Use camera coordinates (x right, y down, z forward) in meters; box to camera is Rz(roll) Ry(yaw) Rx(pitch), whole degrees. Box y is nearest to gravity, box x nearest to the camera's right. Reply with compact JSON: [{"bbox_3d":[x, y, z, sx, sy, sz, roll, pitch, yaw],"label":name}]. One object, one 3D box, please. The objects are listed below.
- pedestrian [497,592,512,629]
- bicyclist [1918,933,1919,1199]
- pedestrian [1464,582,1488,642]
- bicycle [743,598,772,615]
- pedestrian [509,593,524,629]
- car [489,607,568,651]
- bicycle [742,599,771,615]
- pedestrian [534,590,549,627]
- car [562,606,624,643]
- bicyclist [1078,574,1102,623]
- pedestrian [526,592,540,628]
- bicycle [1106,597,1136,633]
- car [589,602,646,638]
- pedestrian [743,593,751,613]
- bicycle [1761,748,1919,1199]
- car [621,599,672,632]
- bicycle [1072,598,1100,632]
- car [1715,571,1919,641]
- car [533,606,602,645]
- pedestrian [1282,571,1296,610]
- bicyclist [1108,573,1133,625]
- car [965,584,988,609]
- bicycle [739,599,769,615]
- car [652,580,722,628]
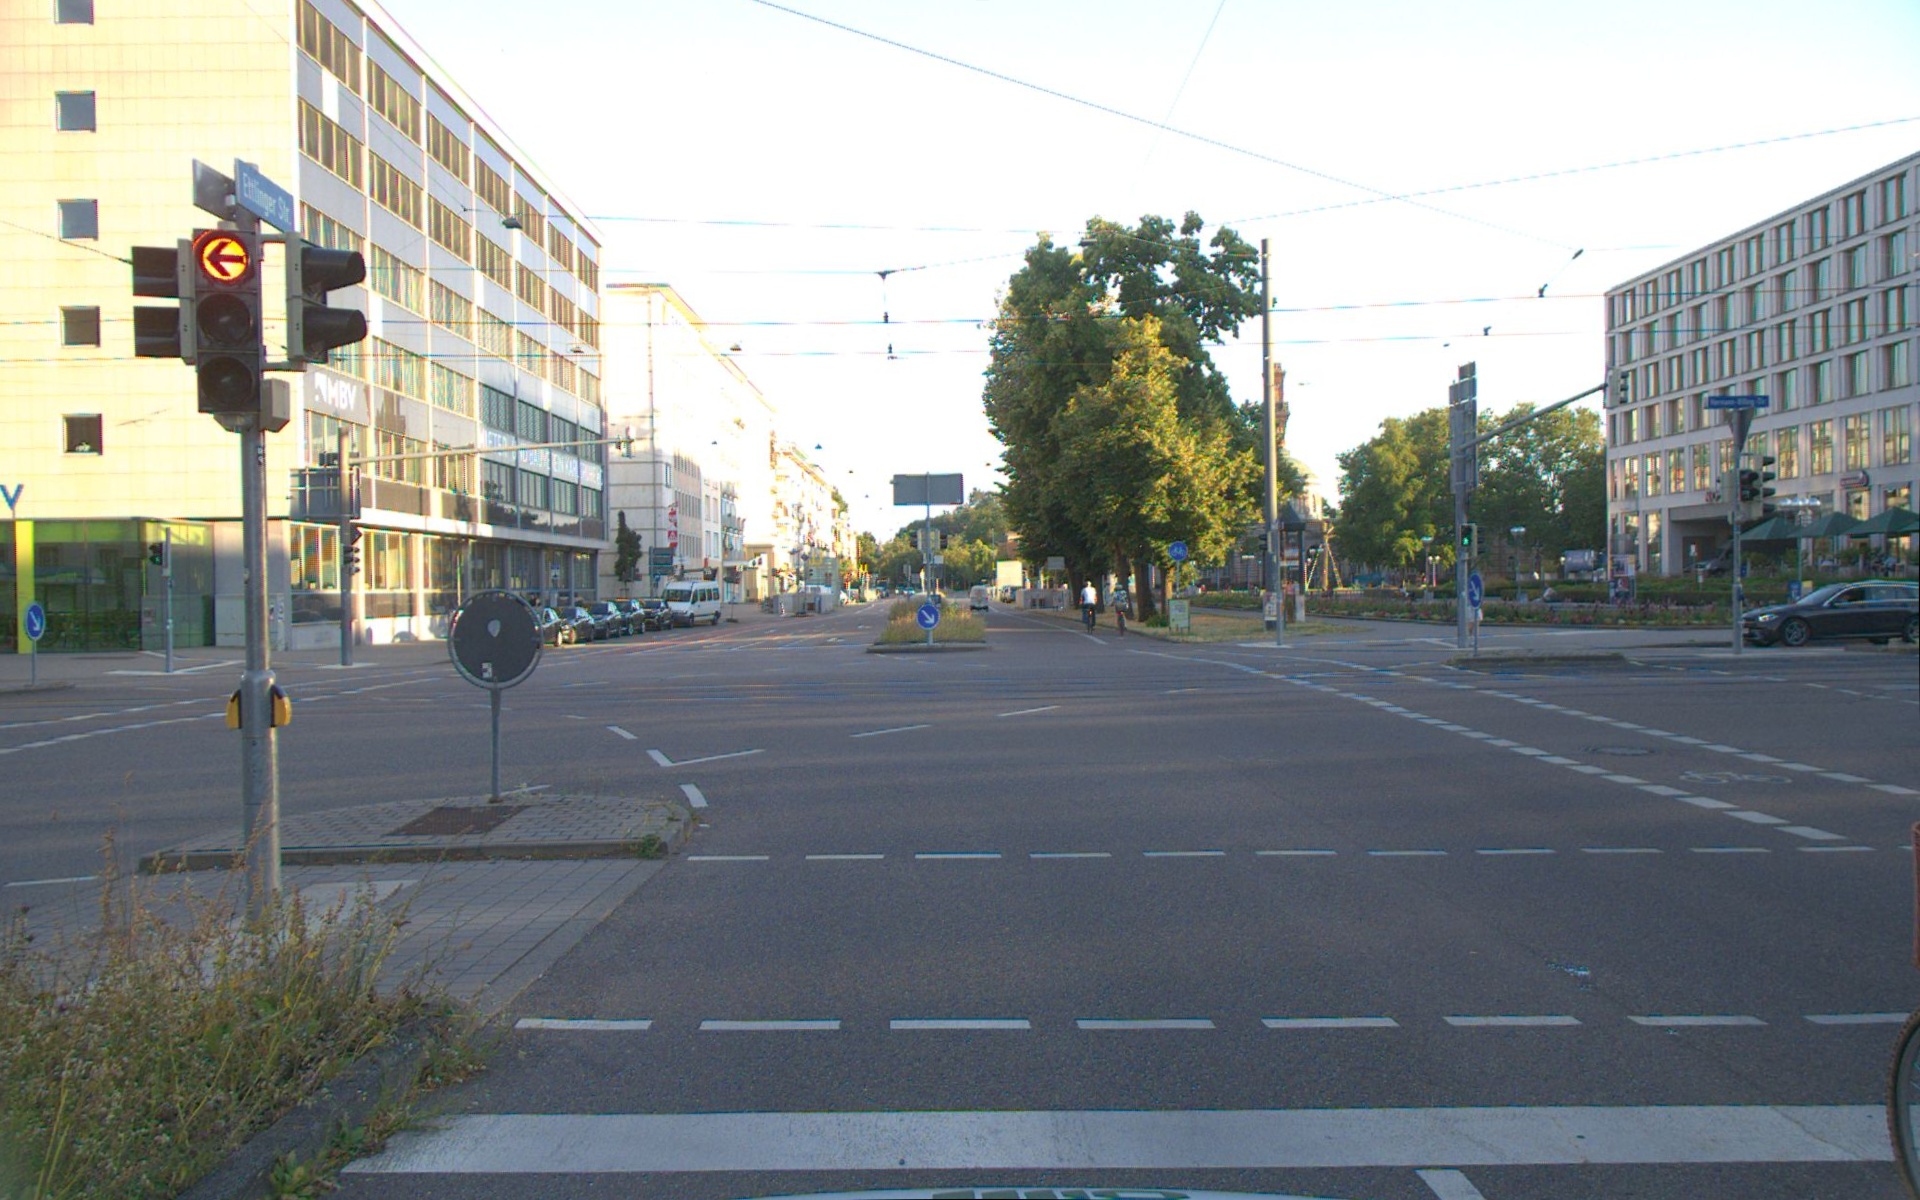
[{"bbox_3d":[-21.413,0.508,77.693,0.540,1.708,0.500,-1,0,-1],"label":"pedestrian"},{"bbox_3d":[2.187,0.533,2.757,0.587,1.665,0.998,1,0,-1],"label":"bicyclist"},{"bbox_3d":[13.734,0.317,44.020,0.480,1.566,0.408,-1,0,-1],"label":"pedestrian"},{"bbox_3d":[-15.720,0.490,128.630,2.161,1.258,0.839,-1,0,-2],"label":"bicycle"},{"bbox_3d":[-20.834,0.519,77.743,0.540,1.708,0.500,-1,0,-1],"label":"pedestrian"},{"bbox_3d":[-16.028,1.064,61.638,1.882,1.489,4.102,-1,0,-1],"label":"car"},{"bbox_3d":[-15.615,0.541,126.855,2.161,1.131,0.689,-1,0,-3],"label":"bicycle"},{"bbox_3d":[-19.613,0.406,77.589,0.540,1.708,0.500,-1,0,-1],"label":"pedestrian"},{"bbox_3d":[-16.160,1.048,72.982,1.882,1.489,3.999,-1,0,-1],"label":"car"},{"bbox_3d":[4.595,-0.045,58.369,0.731,1.692,0.873,-1,0,-1],"label":"bicyclist"},{"bbox_3d":[-20.198,0.480,78.205,0.490,1.708,0.500,-1,0,-1],"label":"pedestrian"},{"bbox_3d":[5.457,0.509,56.176,0.731,1.164,2.505,-1,0,-1],"label":"bicycle"},{"bbox_3d":[-16.157,0.919,78.285,1.882,1.595,3.999,-1,0,-1],"label":"car"},{"bbox_3d":[-21.238,0.300,164.654,0.666,2.049,0.545,-2,0,-1],"label":"pedestrian"},{"bbox_3d":[2.179,0.927,2.852,0.599,1.152,2.004,1,0,-1],"label":"bicycle"},{"bbox_3d":[-15.984,0.773,84.517,1.882,1.595,3.999,-1,0,-1],"label":"car"},{"bbox_3d":[4.470,0.516,58.647,0.731,1.164,2.505,-1,0,-1],"label":"bicycle"},{"bbox_3d":[21.075,0.130,39.993,4.724,1.542,2.000,-1,0,1],"label":"car"},{"bbox_3d":[-16.138,1.026,68.167,1.882,1.489,3.999,-1,0,-1],"label":"car"},{"bbox_3d":[14.362,-0.396,72.163,0.451,1.685,0.566,-1,0,-1],"label":"pedestrian"},{"bbox_3d":[5.442,-0.038,56.182,0.731,1.720,0.799,-1,0,-1],"label":"bicyclist"},{"bbox_3d":[1.122,-0.262,115.754,1.379,1.670,3.998,-1,0,-2],"label":"car"},{"bbox_3d":[-15.570,0.519,125.182,2.161,1.131,0.618,-1,0,-3],"label":"bicycle"},{"bbox_3d":[-14.968,0.187,90.992,1.958,2.521,5.873,-1,0,9],"label":"car"}]
